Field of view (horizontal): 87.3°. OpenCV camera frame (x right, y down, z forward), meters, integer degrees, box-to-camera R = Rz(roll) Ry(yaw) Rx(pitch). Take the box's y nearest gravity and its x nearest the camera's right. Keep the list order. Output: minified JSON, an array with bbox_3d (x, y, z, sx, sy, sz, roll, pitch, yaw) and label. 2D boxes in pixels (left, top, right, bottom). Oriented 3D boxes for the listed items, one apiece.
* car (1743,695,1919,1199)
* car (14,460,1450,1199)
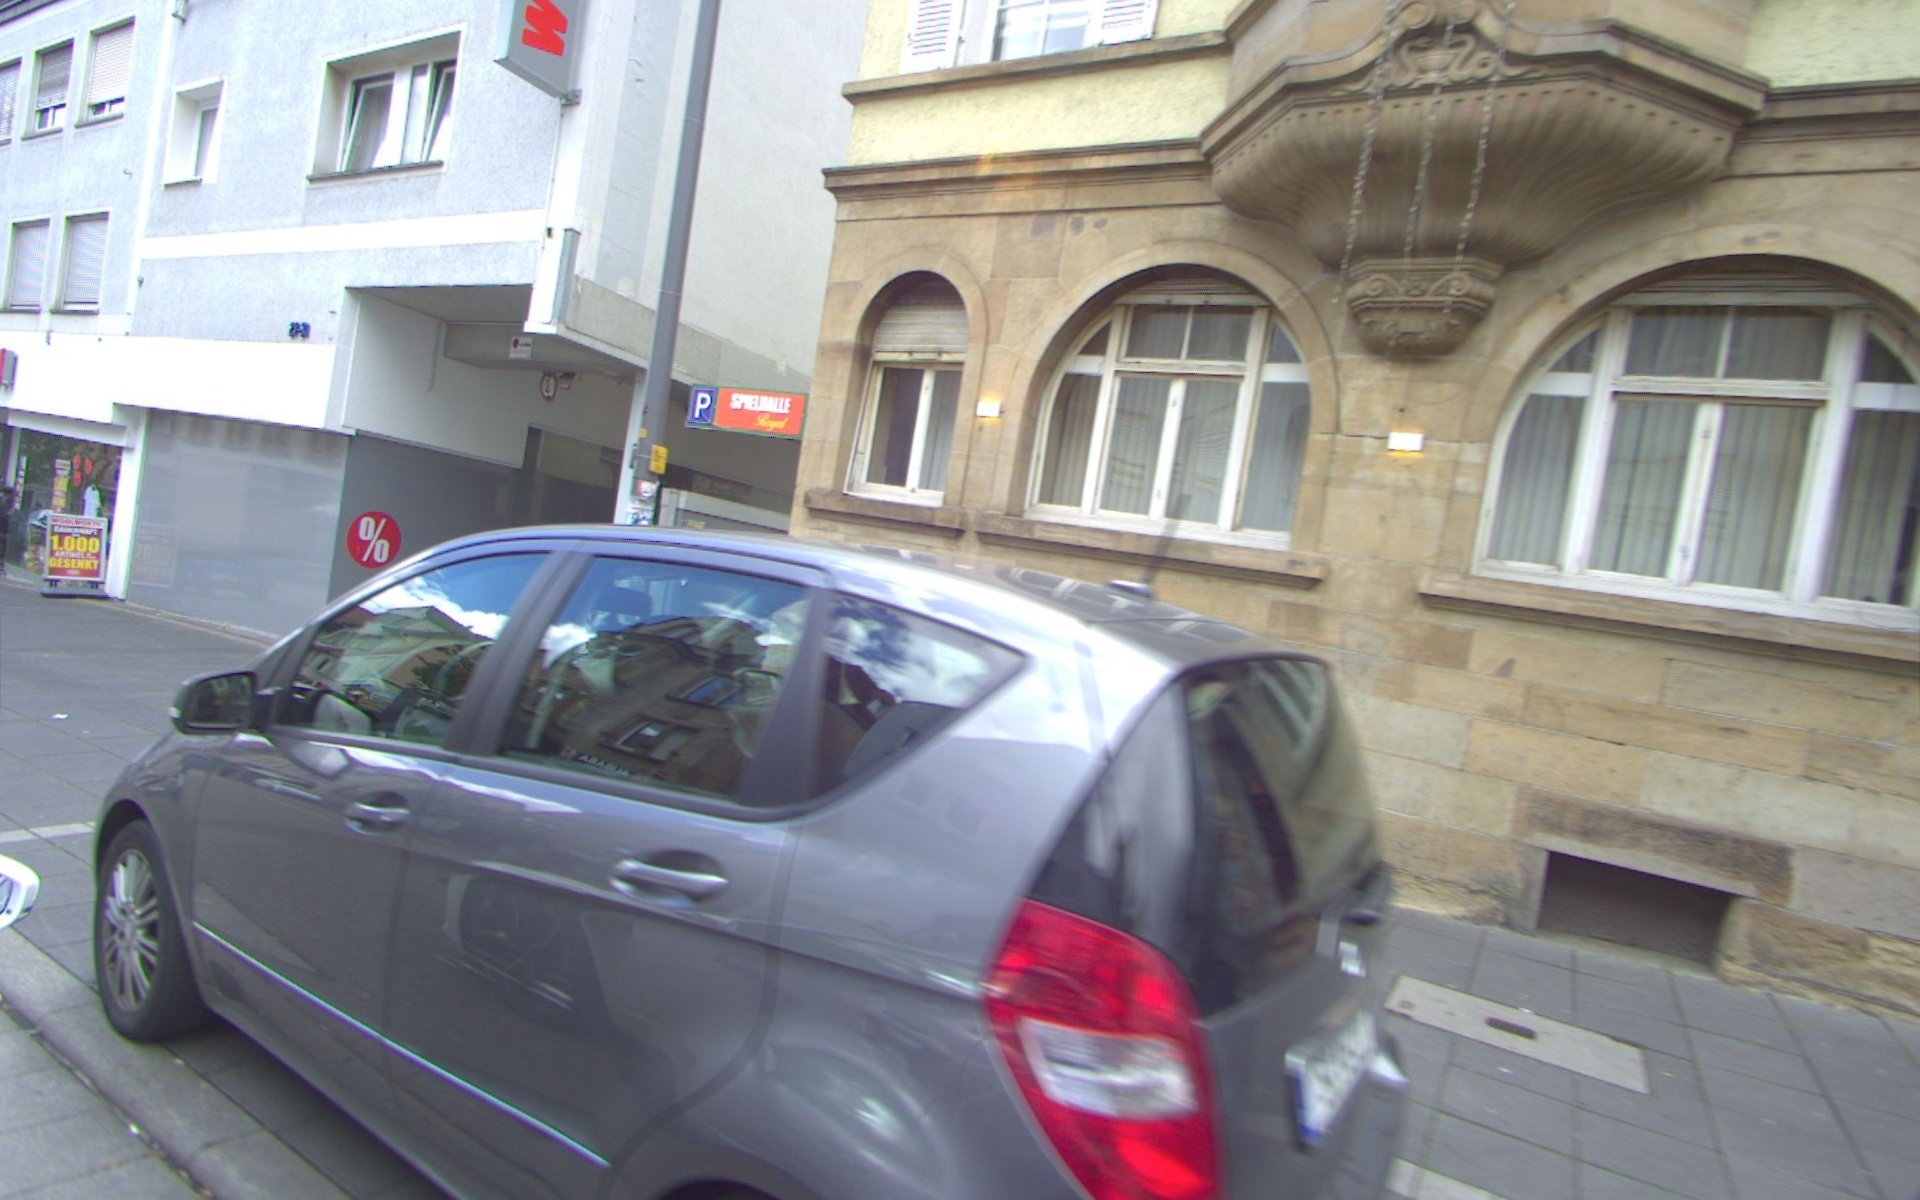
[{"bbox_3d":[3.241,1.148,0.793,3.808,1.528,1.750,7,1,29],"label":"car"},{"bbox_3d":[-0.874,0.611,2.844,3.738,1.628,1.749,7,1,33],"label":"car"}]
